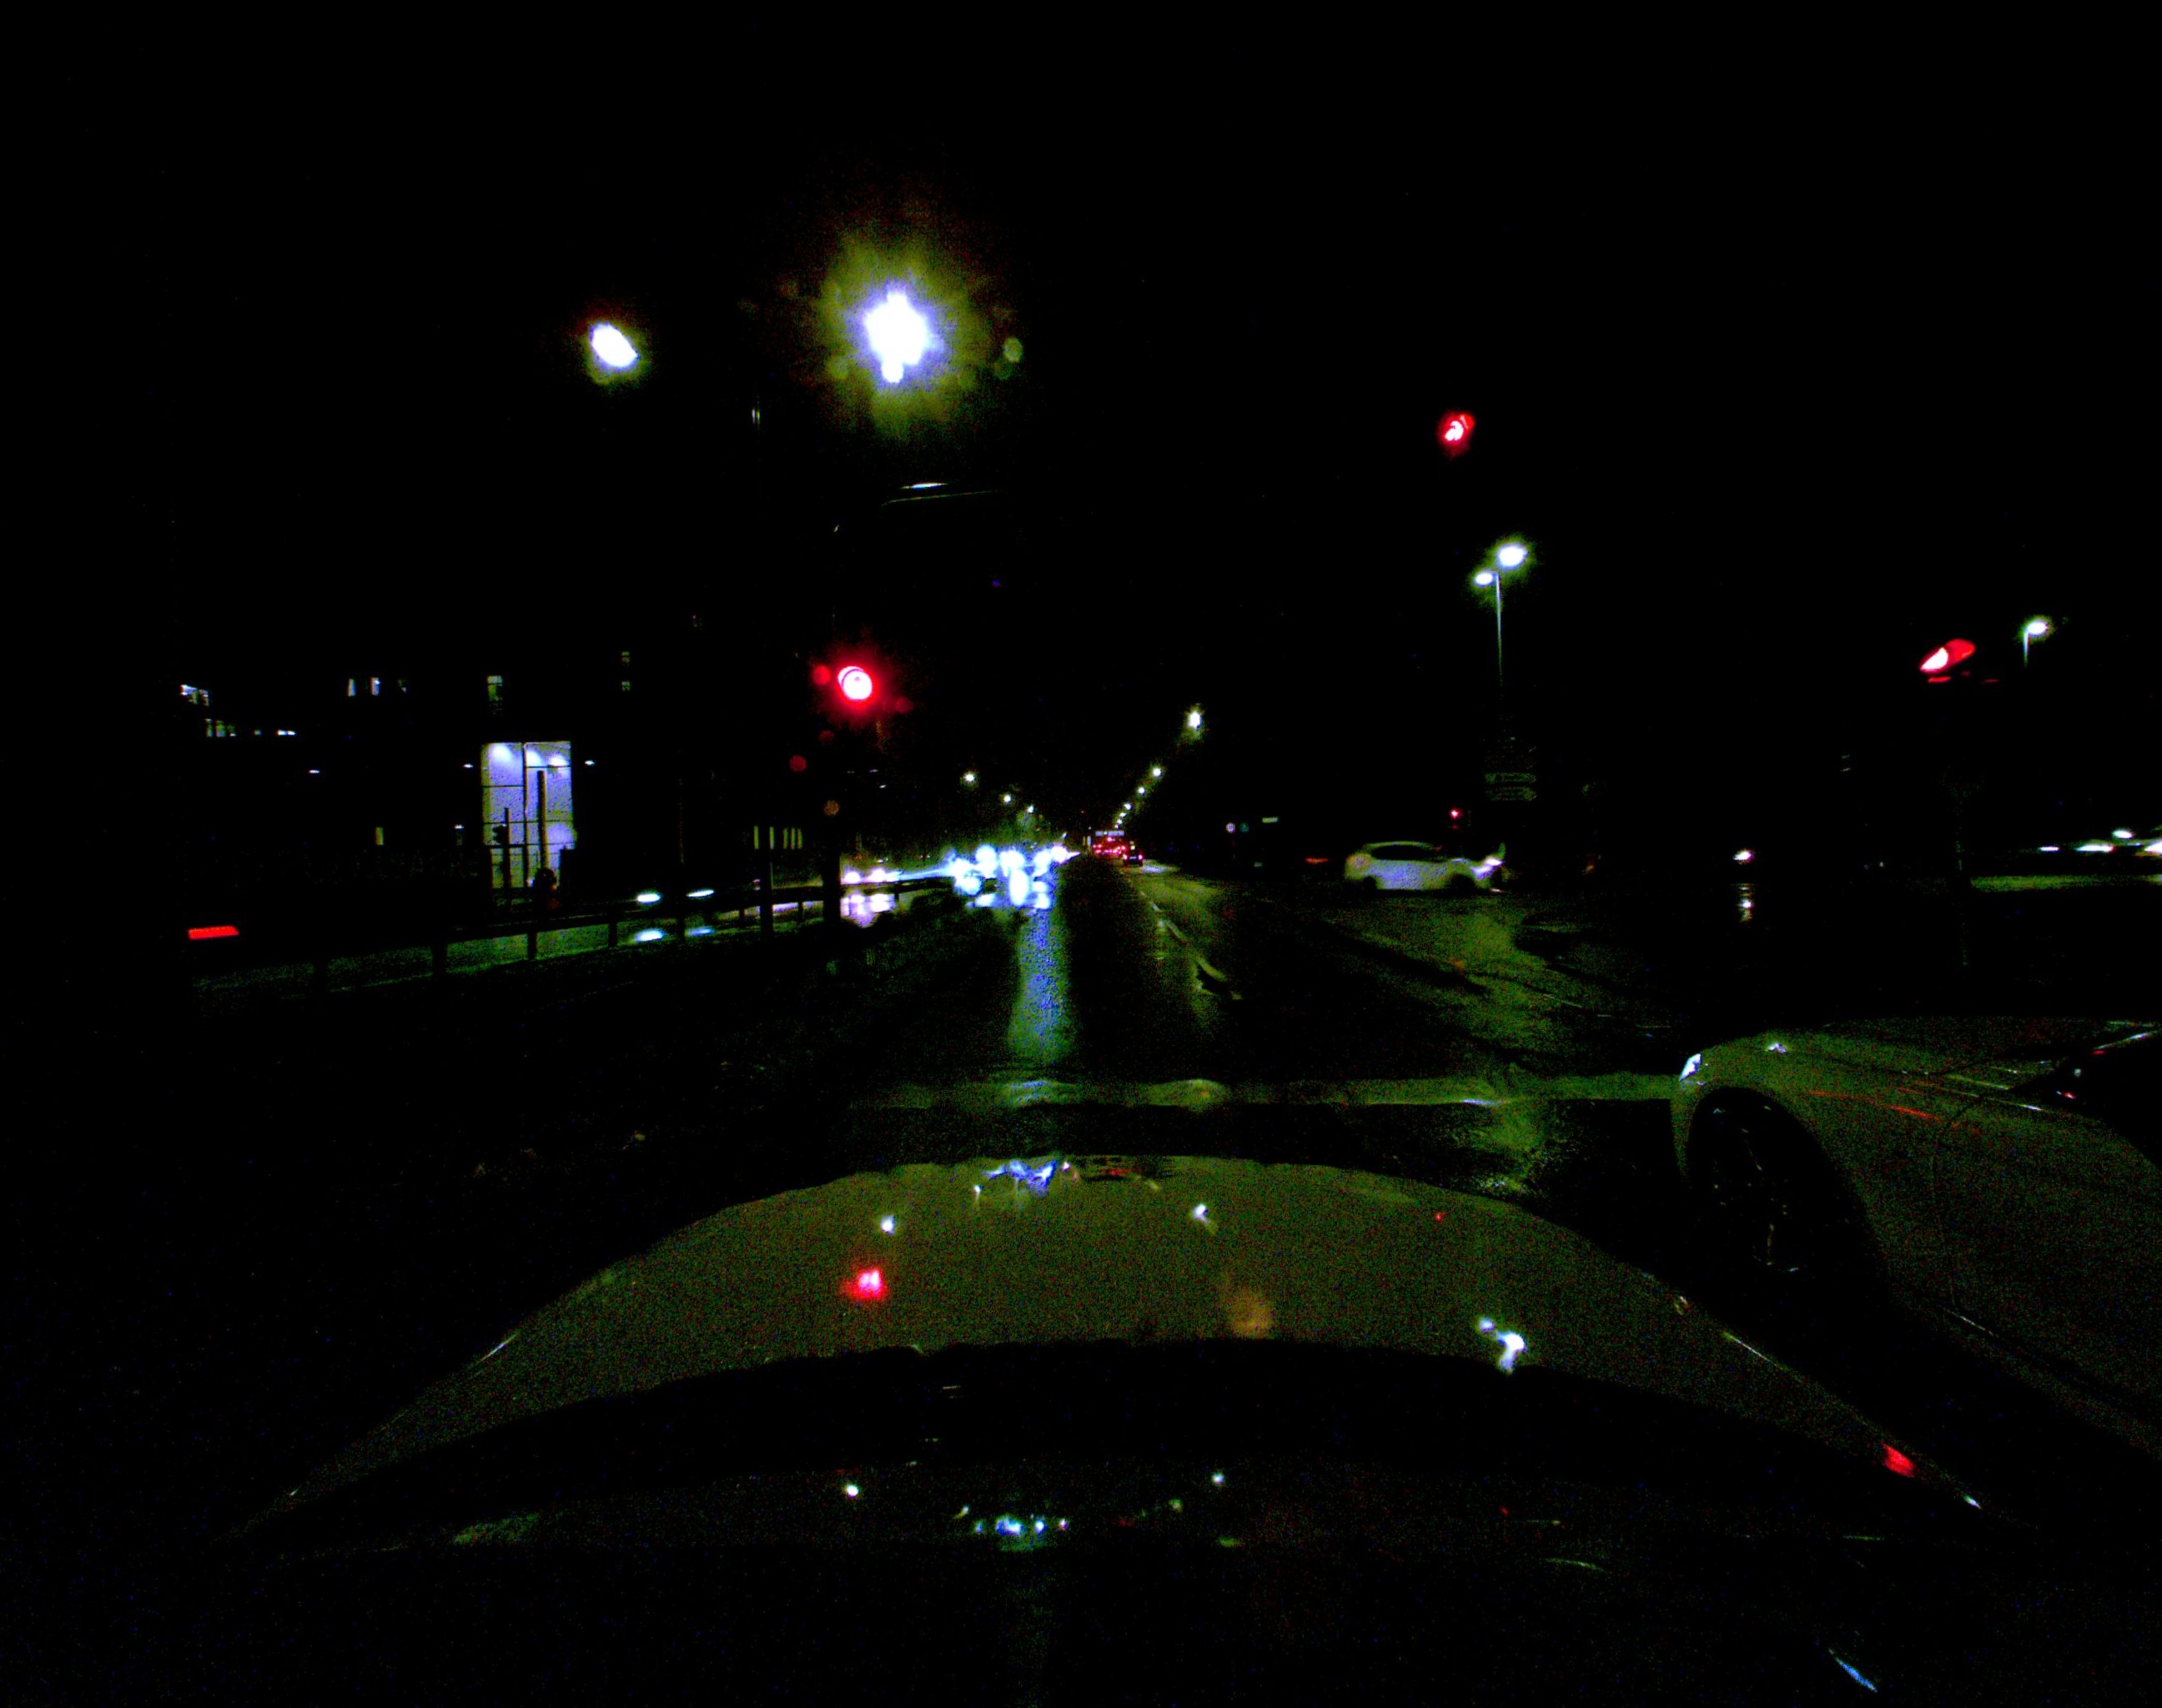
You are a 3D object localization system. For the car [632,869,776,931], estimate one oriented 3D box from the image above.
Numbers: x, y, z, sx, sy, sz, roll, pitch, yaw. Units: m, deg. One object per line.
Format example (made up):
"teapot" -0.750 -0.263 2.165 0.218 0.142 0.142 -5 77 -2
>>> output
"car" -10.530 1.221 23.148 1.878 1.552 4.435 -1 -1 2

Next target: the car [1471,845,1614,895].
"car" 17.595 0.610 31.236 4.316 1.755 1.988 -1 -1 6

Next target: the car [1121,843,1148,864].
"car" 4.726 -0.020 72.247 1.898 1.780 3.996 -1 -1 -3

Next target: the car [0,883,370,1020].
"car" -13.170 1.278 11.988 1.794 1.564 4.001 -1 -1 2

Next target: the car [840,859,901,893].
"car" -10.621 1.069 41.372 1.764 1.569 4.333 -2 -1 2

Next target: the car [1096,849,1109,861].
"car" 3.551 0.176 133.706 1.986 2.014 4.001 -1 -1 2

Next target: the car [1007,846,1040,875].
"car" -4.206 0.466 60.100 1.986 2.014 4.001 -2 0 2

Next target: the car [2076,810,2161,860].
"car" 36.179 -0.634 26.691 4.311 1.590 1.858 -1 -1 10

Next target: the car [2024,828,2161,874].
"car" 38.033 -0.107 29.836 4.311 1.590 1.858 -1 -1 10

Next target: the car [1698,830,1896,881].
"car" 24.247 0.078 27.764 4.823 1.590 1.857 -1 -1 8

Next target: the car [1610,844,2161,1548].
"car" 3.125 0.714 1.286 1.714 1.446 4.383 -3 -1 1

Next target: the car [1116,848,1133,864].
"car" 6.122 0.301 114.982 2.200 2.215 3.644 -1 -1 2

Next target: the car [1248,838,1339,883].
"car" 9.066 0.291 34.829 3.384 1.838 1.698 -2 -1 32

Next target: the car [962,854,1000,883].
"car" -6.559 0.928 53.645 1.776 1.816 4.002 -2 -1 2

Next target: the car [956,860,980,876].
"car" -11.958 1.447 86.571 1.840 1.590 4.354 -1 -1 2

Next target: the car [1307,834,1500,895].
"car" 9.303 0.327 23.614 4.906 1.610 2.012 -1 -1 31
